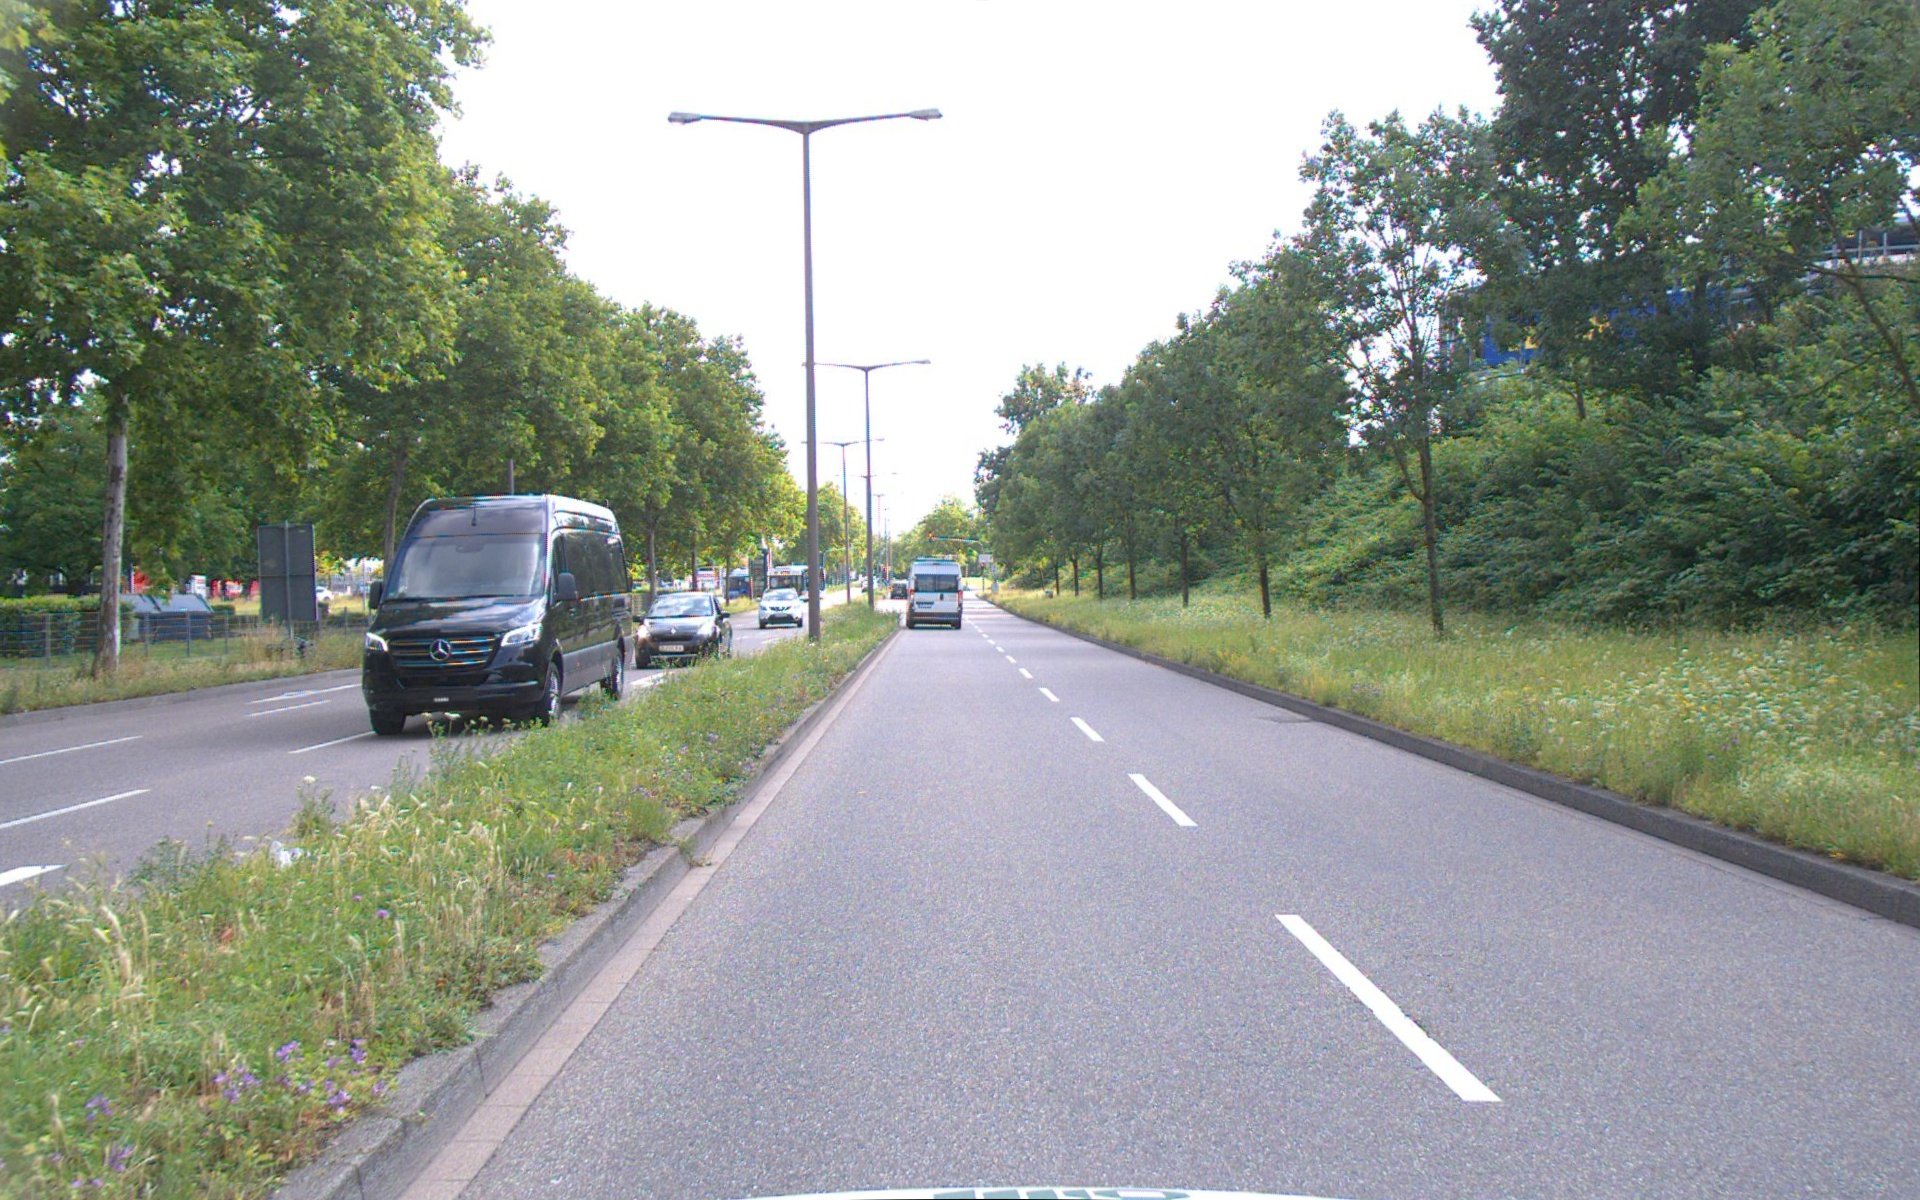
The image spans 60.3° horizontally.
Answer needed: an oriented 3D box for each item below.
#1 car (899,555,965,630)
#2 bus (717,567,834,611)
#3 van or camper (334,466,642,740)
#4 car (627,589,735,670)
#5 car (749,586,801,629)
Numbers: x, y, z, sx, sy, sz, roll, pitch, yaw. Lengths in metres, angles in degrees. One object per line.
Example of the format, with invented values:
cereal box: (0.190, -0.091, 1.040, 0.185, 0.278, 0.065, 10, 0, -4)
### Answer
car: (-1.132, -0.285, 63.461, 2.155, 2.774, 4.926, 1, 0, -5)
bus: (-16.421, -0.928, 146.348, 12.121, 3.332, 3.100, -3, 0, 43)
van or camper: (-5.424, 0.026, 20.119, 2.062, 2.706, 6.713, -2, 0, -3)
car: (-5.602, 0.581, 33.613, 1.660, 1.489, 3.938, -2, 0, -3)
car: (-7.636, 0.295, 68.580, 1.778, 1.668, 4.349, -3, 0, -3)
